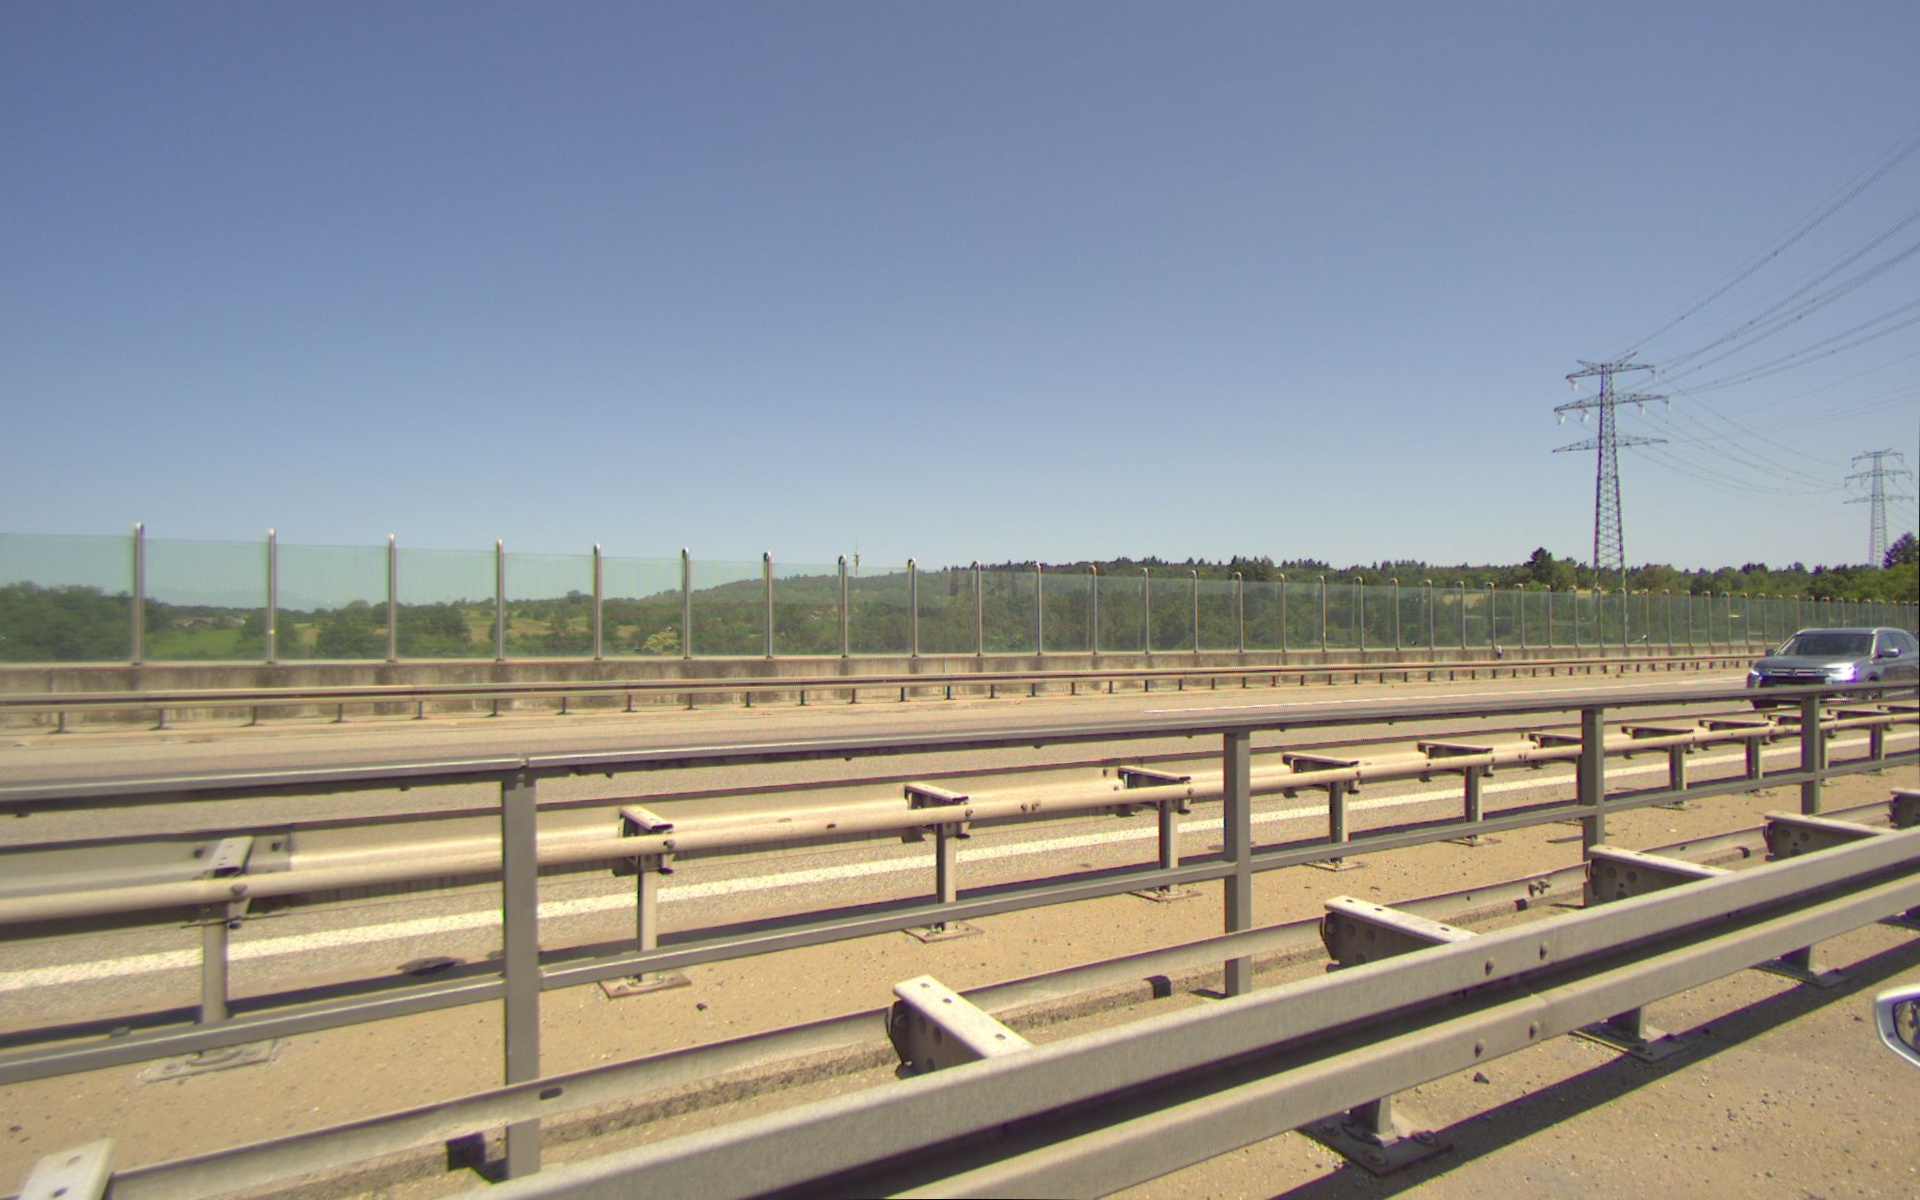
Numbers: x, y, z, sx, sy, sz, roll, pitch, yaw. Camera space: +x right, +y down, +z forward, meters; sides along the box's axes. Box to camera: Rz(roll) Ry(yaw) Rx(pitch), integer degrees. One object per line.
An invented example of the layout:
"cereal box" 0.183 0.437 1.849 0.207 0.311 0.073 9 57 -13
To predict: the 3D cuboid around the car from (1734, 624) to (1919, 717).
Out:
"car" 17.298 1.312 19.778 4.426 1.649 1.796 1 -1 -31
